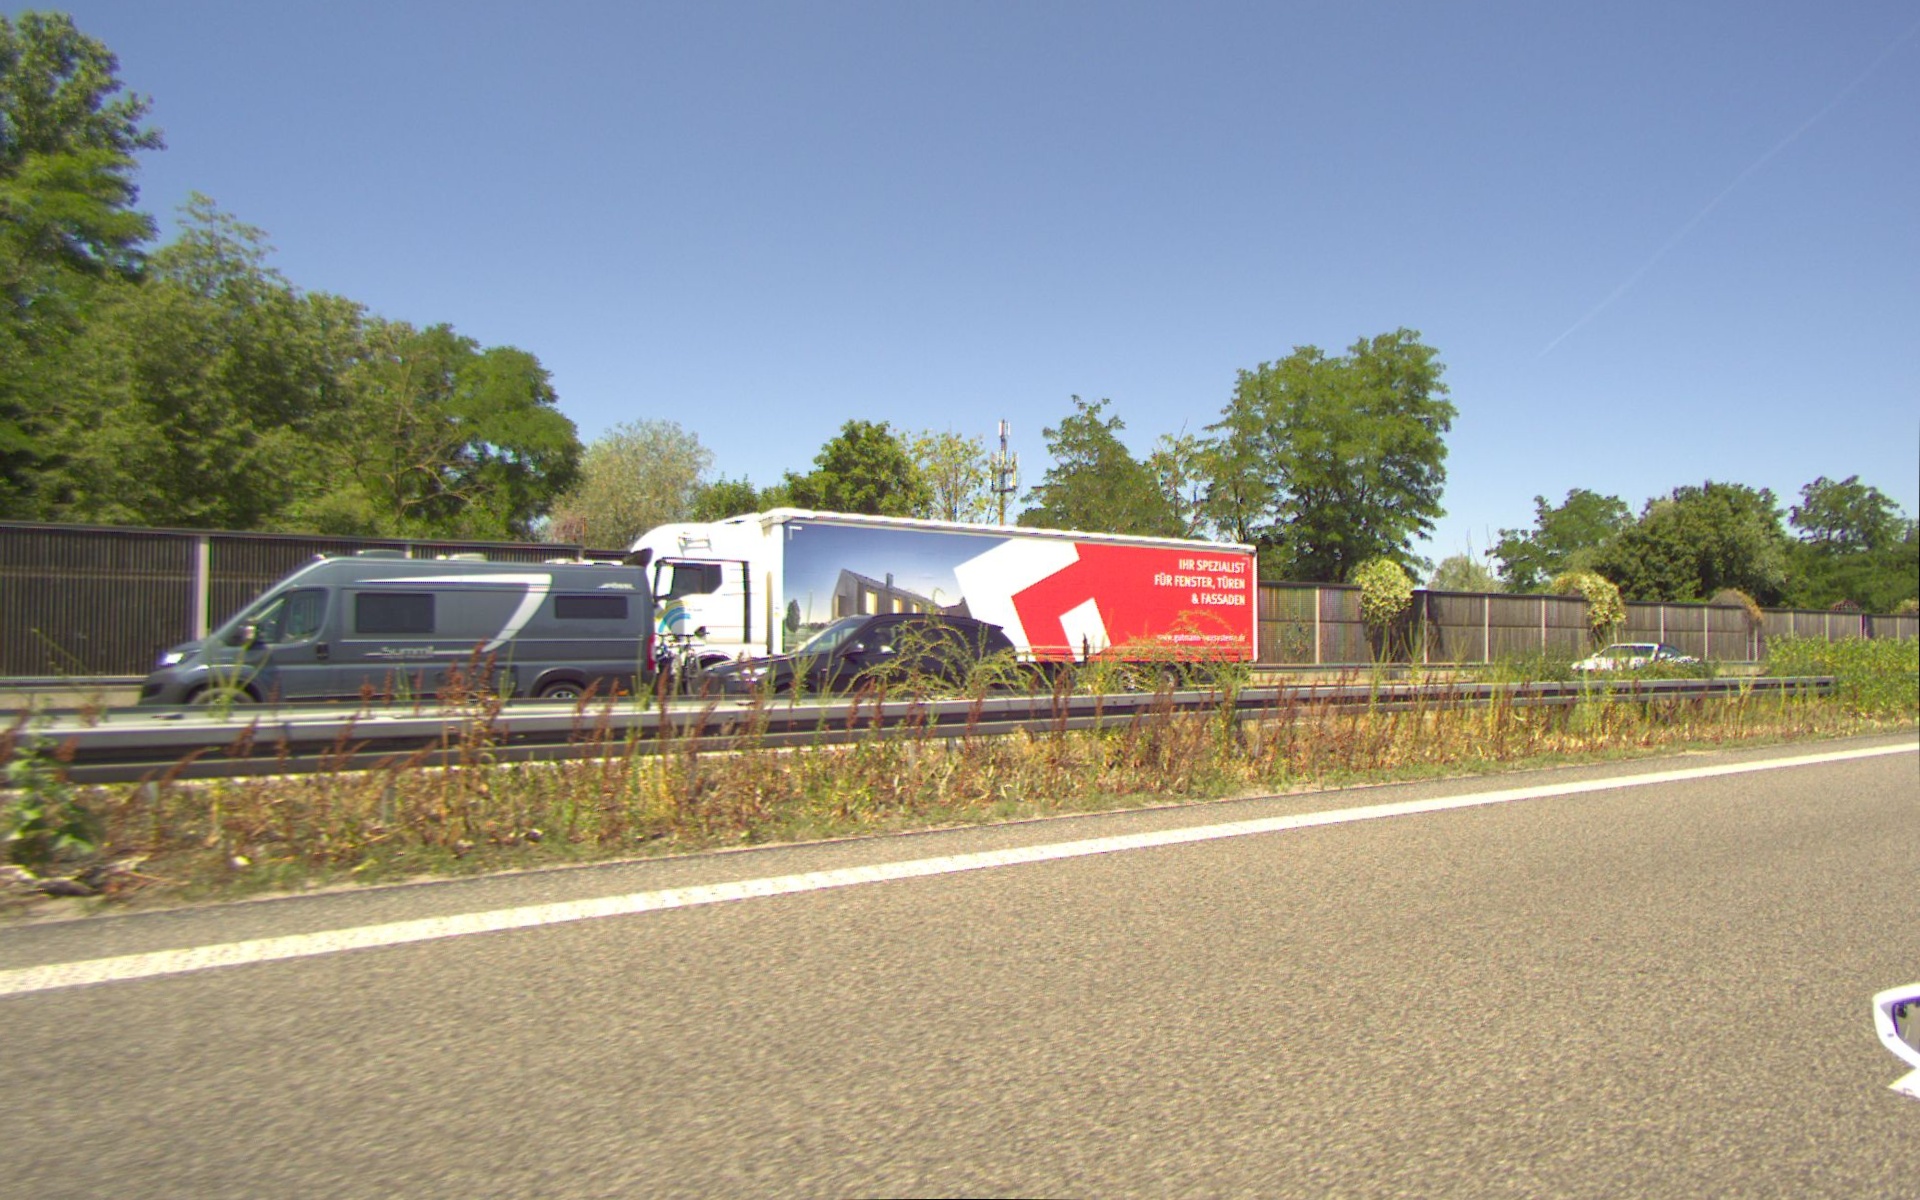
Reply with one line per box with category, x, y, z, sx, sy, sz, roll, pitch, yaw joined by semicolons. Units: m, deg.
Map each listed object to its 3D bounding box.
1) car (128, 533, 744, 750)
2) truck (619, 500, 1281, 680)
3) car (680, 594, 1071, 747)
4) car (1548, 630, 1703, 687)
car;-7.224;0.529;14.872;7.494;2.598;2.304;2;3;-30
truck;0.740;-0.068;24.289;16.801;3.386;2.824;1;0;-30
car;-1.049;0.941;13.711;5.021;1.773;1.769;3;-2;-30
car;18.303;1.573;27.583;4.446;1.431;1.769;2;-1;-30
